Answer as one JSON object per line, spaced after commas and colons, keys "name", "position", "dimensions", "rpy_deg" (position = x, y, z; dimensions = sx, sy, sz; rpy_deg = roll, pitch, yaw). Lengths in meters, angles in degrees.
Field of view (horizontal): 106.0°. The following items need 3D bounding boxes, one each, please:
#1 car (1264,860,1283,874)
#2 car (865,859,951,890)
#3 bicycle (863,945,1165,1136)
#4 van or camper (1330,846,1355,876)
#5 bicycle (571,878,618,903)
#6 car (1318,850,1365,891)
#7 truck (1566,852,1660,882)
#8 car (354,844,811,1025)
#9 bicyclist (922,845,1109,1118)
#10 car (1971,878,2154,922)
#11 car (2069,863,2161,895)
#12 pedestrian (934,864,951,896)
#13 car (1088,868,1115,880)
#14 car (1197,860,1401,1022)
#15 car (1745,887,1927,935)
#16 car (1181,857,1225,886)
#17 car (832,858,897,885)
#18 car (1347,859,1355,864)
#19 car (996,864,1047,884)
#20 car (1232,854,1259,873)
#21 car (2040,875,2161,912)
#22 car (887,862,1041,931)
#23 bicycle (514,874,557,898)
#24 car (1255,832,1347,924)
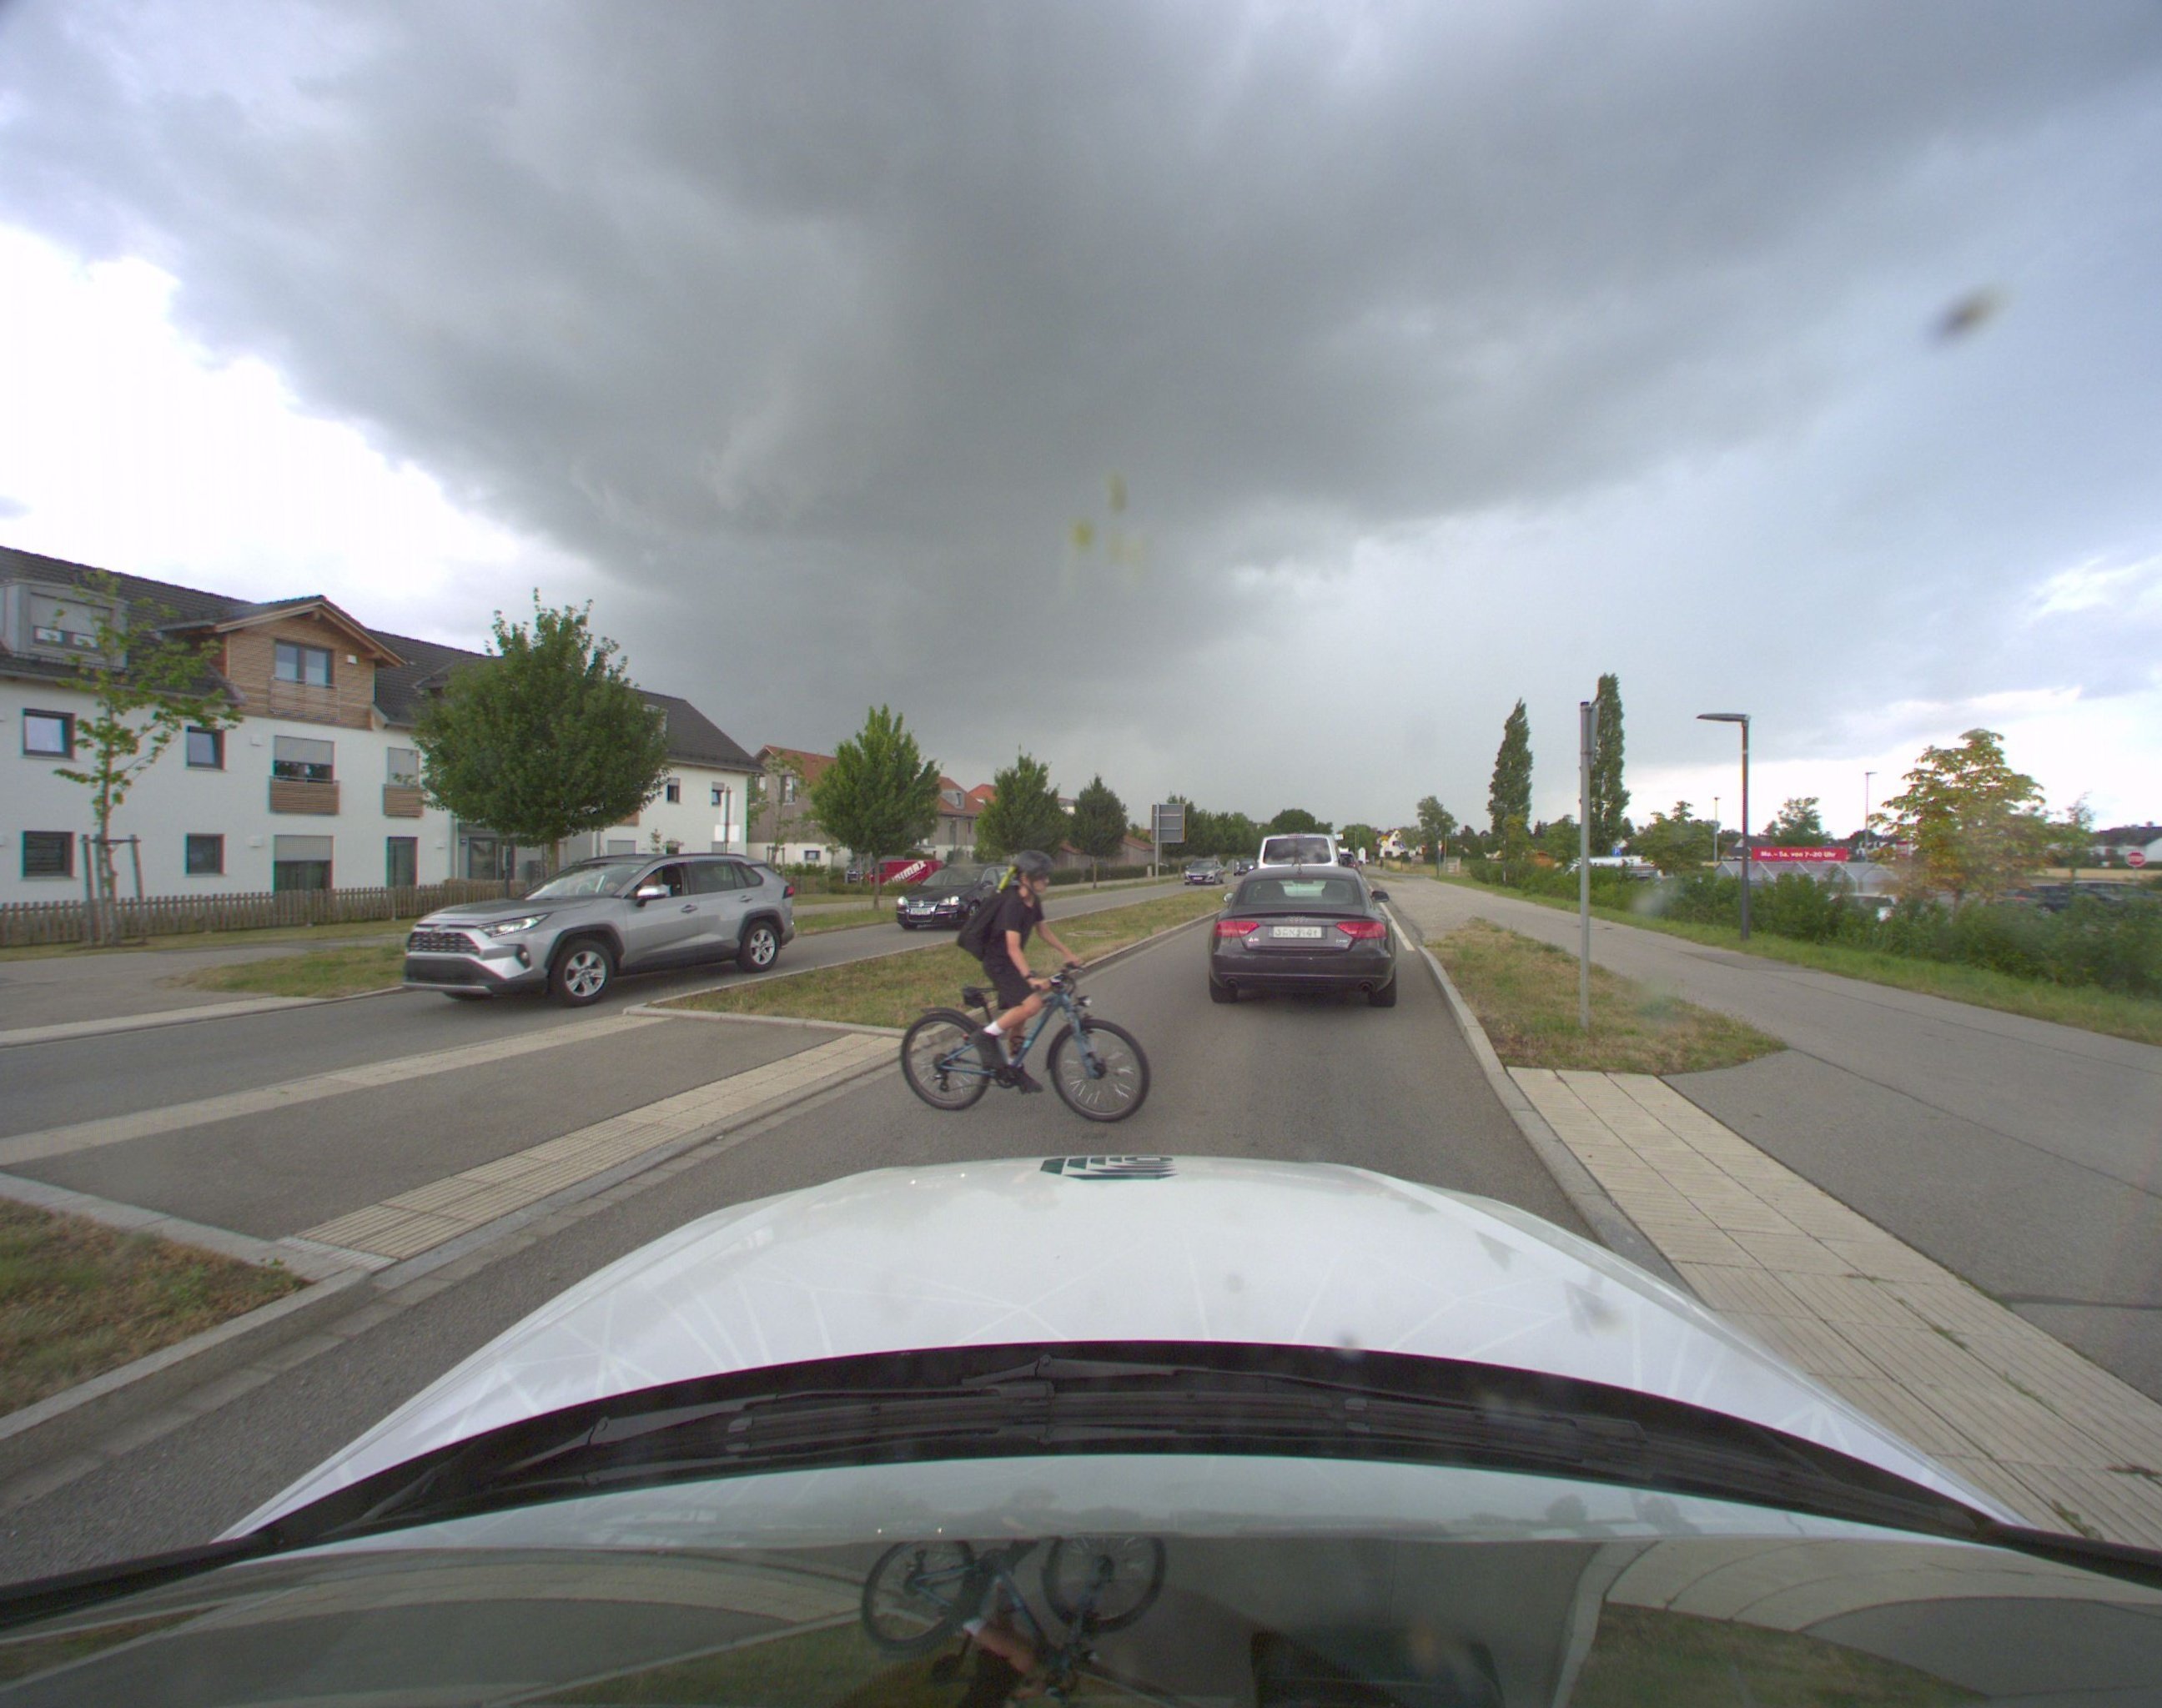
{"name": "car", "position": [21.930, 1.434, 92.840], "dimensions": [1.853, 1.574, 4.017], "rpy_deg": [0, 0, 17]}
{"name": "car", "position": [-10.066, 1.160, 47.386], "dimensions": [4.491, 1.680, 2.010], "rpy_deg": [0, 0, 21]}
{"name": "bicycle", "position": [-0.400, 1.049, 4.830], "dimensions": [1.694, 0.946, 0.499], "rpy_deg": [-1, -1, 17]}
{"name": "van or camper", "position": [30.144, 0.808, 93.904], "dimensions": [2.604, 3.324, 6.852], "rpy_deg": [1, -1, 18]}
{"name": "bicycle", "position": [-17.771, 1.318, 29.789], "dimensions": [0.364, 0.843, 1.554], "rpy_deg": [3, 1, 20]}
{"name": "car", "position": [10.985, 0.642, 34.254], "dimensions": [1.762, 1.618, 4.019], "rpy_deg": [0, 0, 19]}
{"name": "truck", "position": [34.997, 0.855, 53.701], "dimensions": [4.762, 1.872, 2.007], "rpy_deg": [1, -1, 14]}
{"name": "car", "position": [-5.710, 0.776, 10.192], "dimensions": [1.977, 1.704, 4.657], "rpy_deg": [-1, 0, 19]}
{"name": "bicyclist", "position": [-0.360, 0.684, 4.803], "dimensions": [0.859, 1.446, 0.728], "rpy_deg": [-1, 0, 17]}
{"name": "car", "position": [40.831, 1.873, 34.019], "dimensions": [4.520, 1.664, 2.009], "rpy_deg": [0, 0, 18]}
{"name": "car", "position": [66.230, 1.579, 51.703], "dimensions": [3.953, 1.837, 2.011], "rpy_deg": [3, 0, 22]}
{"name": "pedestrian", "position": [-6.743, 1.265, 39.755], "dimensions": [0.577, 1.559, 0.663], "rpy_deg": [0, 0, 16]}
{"name": "car", "position": [1.994, 1.931, 78.936], "dimensions": [2.455, 1.028, 1.189], "rpy_deg": [0, 0, 12]}
{"name": "car", "position": [2.515, 0.781, 9.336], "dimensions": [1.770, 1.391, 4.150], "rpy_deg": [0, 0, 16]}
{"name": "car", "position": [26.094, 1.942, 28.343], "dimensions": [4.199, 1.440, 2.009], "rpy_deg": [0, 0, 18]}
{"name": "car", "position": [6.970, 0.975, 46.184], "dimensions": [1.716, 1.409, 4.226], "rpy_deg": [3, 2, 19]}
{"name": "car", "position": [-14.993, 1.213, 56.713], "dimensions": [1.976, 1.772, 4.490], "rpy_deg": [0, -1, 23]}
{"name": "car", "position": [61.584, 1.704, 185.814], "dimensions": [1.600, 1.272, 3.478], "rpy_deg": [1, 0, 19]}
{"name": "car", "position": [-4.708, 1.569, 64.711], "dimensions": [3.702, 1.482, 1.693], "rpy_deg": [1, 0, 15]}
{"name": "car", "position": [14.038, 0.769, 69.385], "dimensions": [1.853, 1.574, 4.017], "rpy_deg": [0, 0, 17]}
{"name": "car", "position": [48.360, 1.844, 38.044], "dimensions": [4.277, 1.578, 1.776], "rpy_deg": [0, 0, 20]}
{"name": "car", "position": [-2.616, 0.923, 19.365], "dimensions": [1.739, 1.416, 4.477], "rpy_deg": [-1, -1, 19]}
{"name": "bicycle", "position": [-20.382, 1.179, 30.430], "dimensions": [0.364, 0.843, 1.344], "rpy_deg": [3, 0, 20]}
{"name": "car", "position": [5.264, 0.523, 19.351], "dimensions": [1.853, 1.934, 4.017], "rpy_deg": [-2, -1, 16]}
